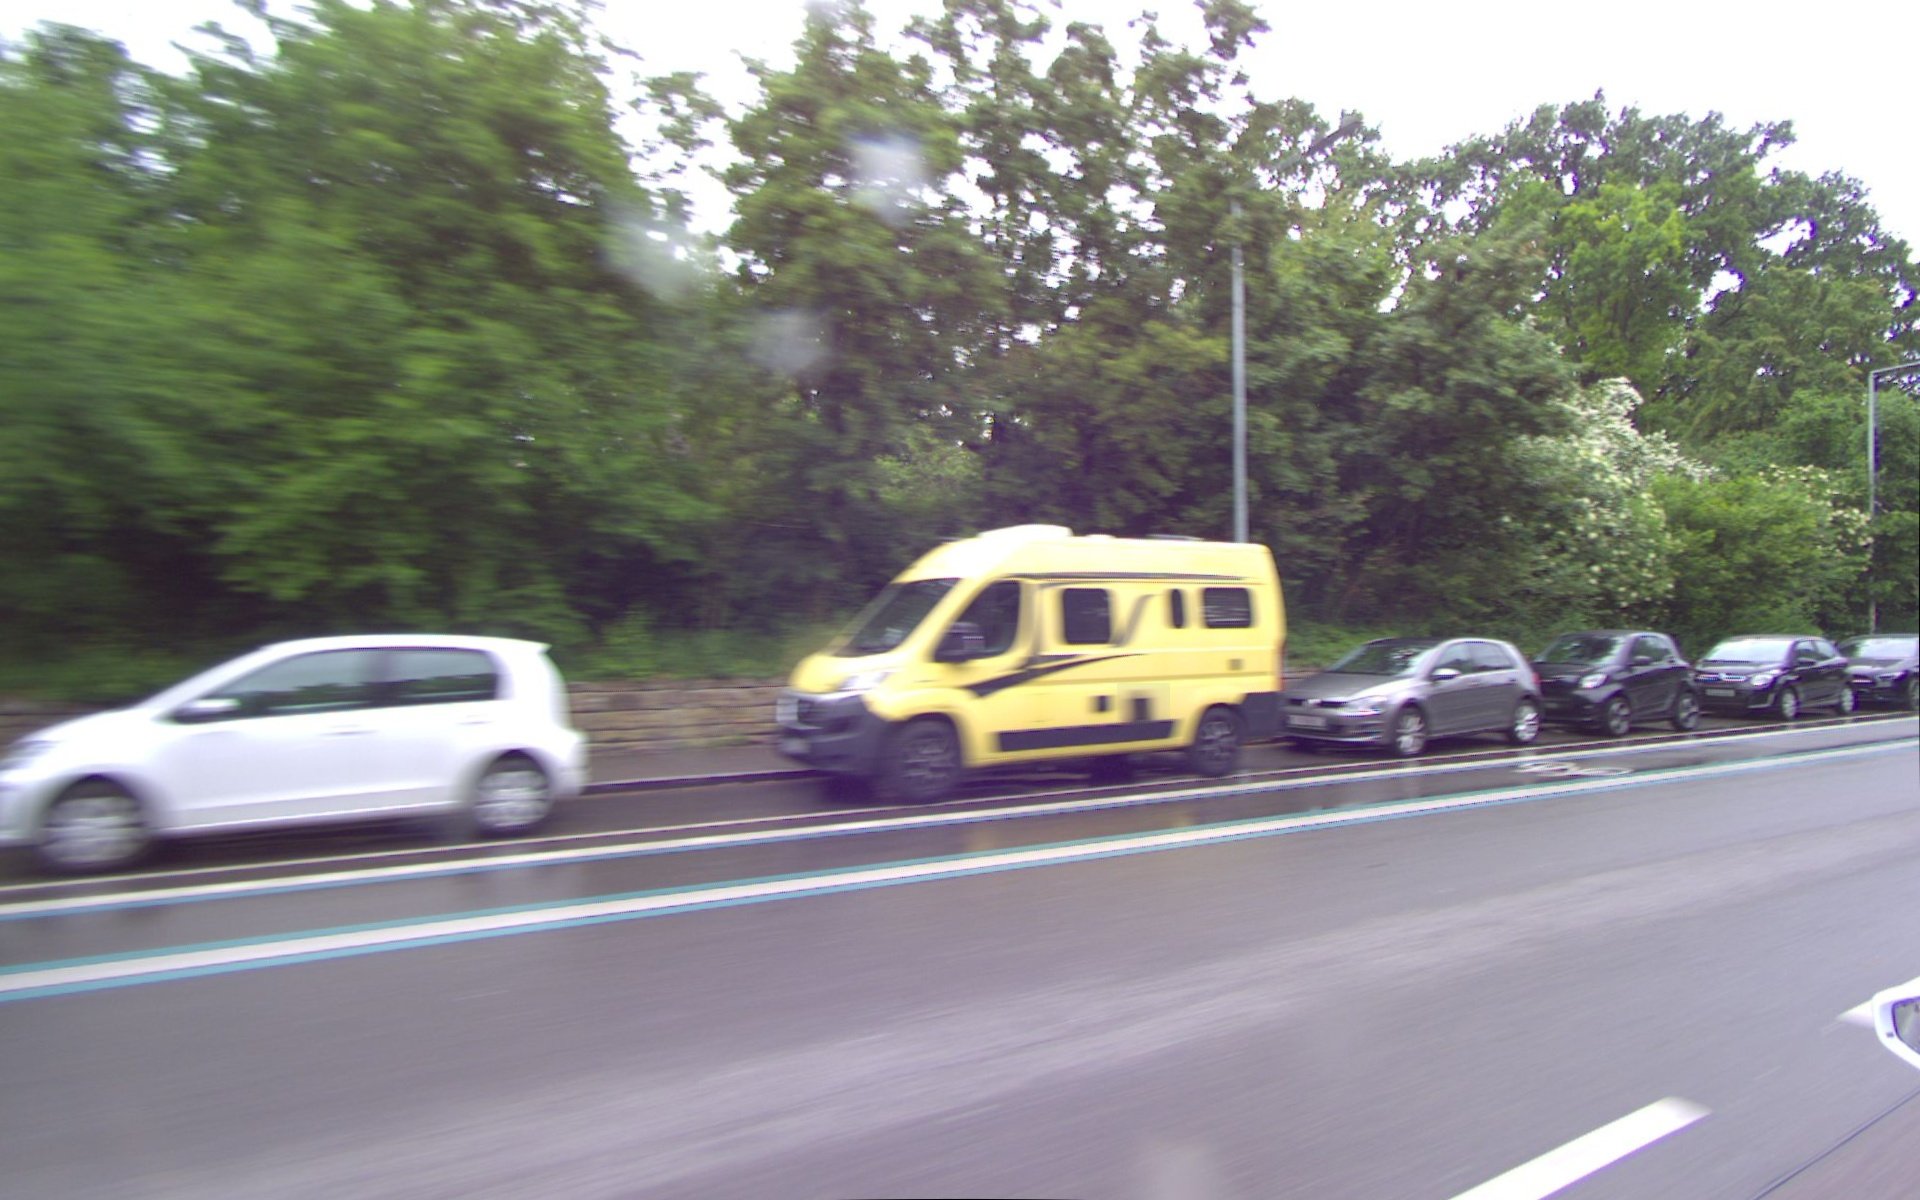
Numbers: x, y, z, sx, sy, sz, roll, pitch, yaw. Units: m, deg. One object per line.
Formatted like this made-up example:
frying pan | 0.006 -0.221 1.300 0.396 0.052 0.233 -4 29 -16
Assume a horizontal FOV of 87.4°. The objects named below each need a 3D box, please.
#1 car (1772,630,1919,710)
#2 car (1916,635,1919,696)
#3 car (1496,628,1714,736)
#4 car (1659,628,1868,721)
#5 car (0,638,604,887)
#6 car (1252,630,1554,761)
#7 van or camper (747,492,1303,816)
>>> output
car | 18.787 1.353 20.536 4.086 1.471 1.986 1 -1 -28
car | 23.282 1.449 22.265 4.417 1.321 1.861 1 -1 -30
car | 10.150 1.218 15.809 3.099 1.530 1.596 1 -1 -28
car | 14.757 1.291 18.419 3.927 1.530 1.596 1 -1 -28
car | -4.672 1.025 7.487 3.612 1.467 1.611 1 -2 -29
car | 5.981 1.168 13.445 4.102 1.518 1.671 1 -2 -32
van or camper | 0.808 0.505 10.566 5.613 2.662 2.134 1 -1 -29
